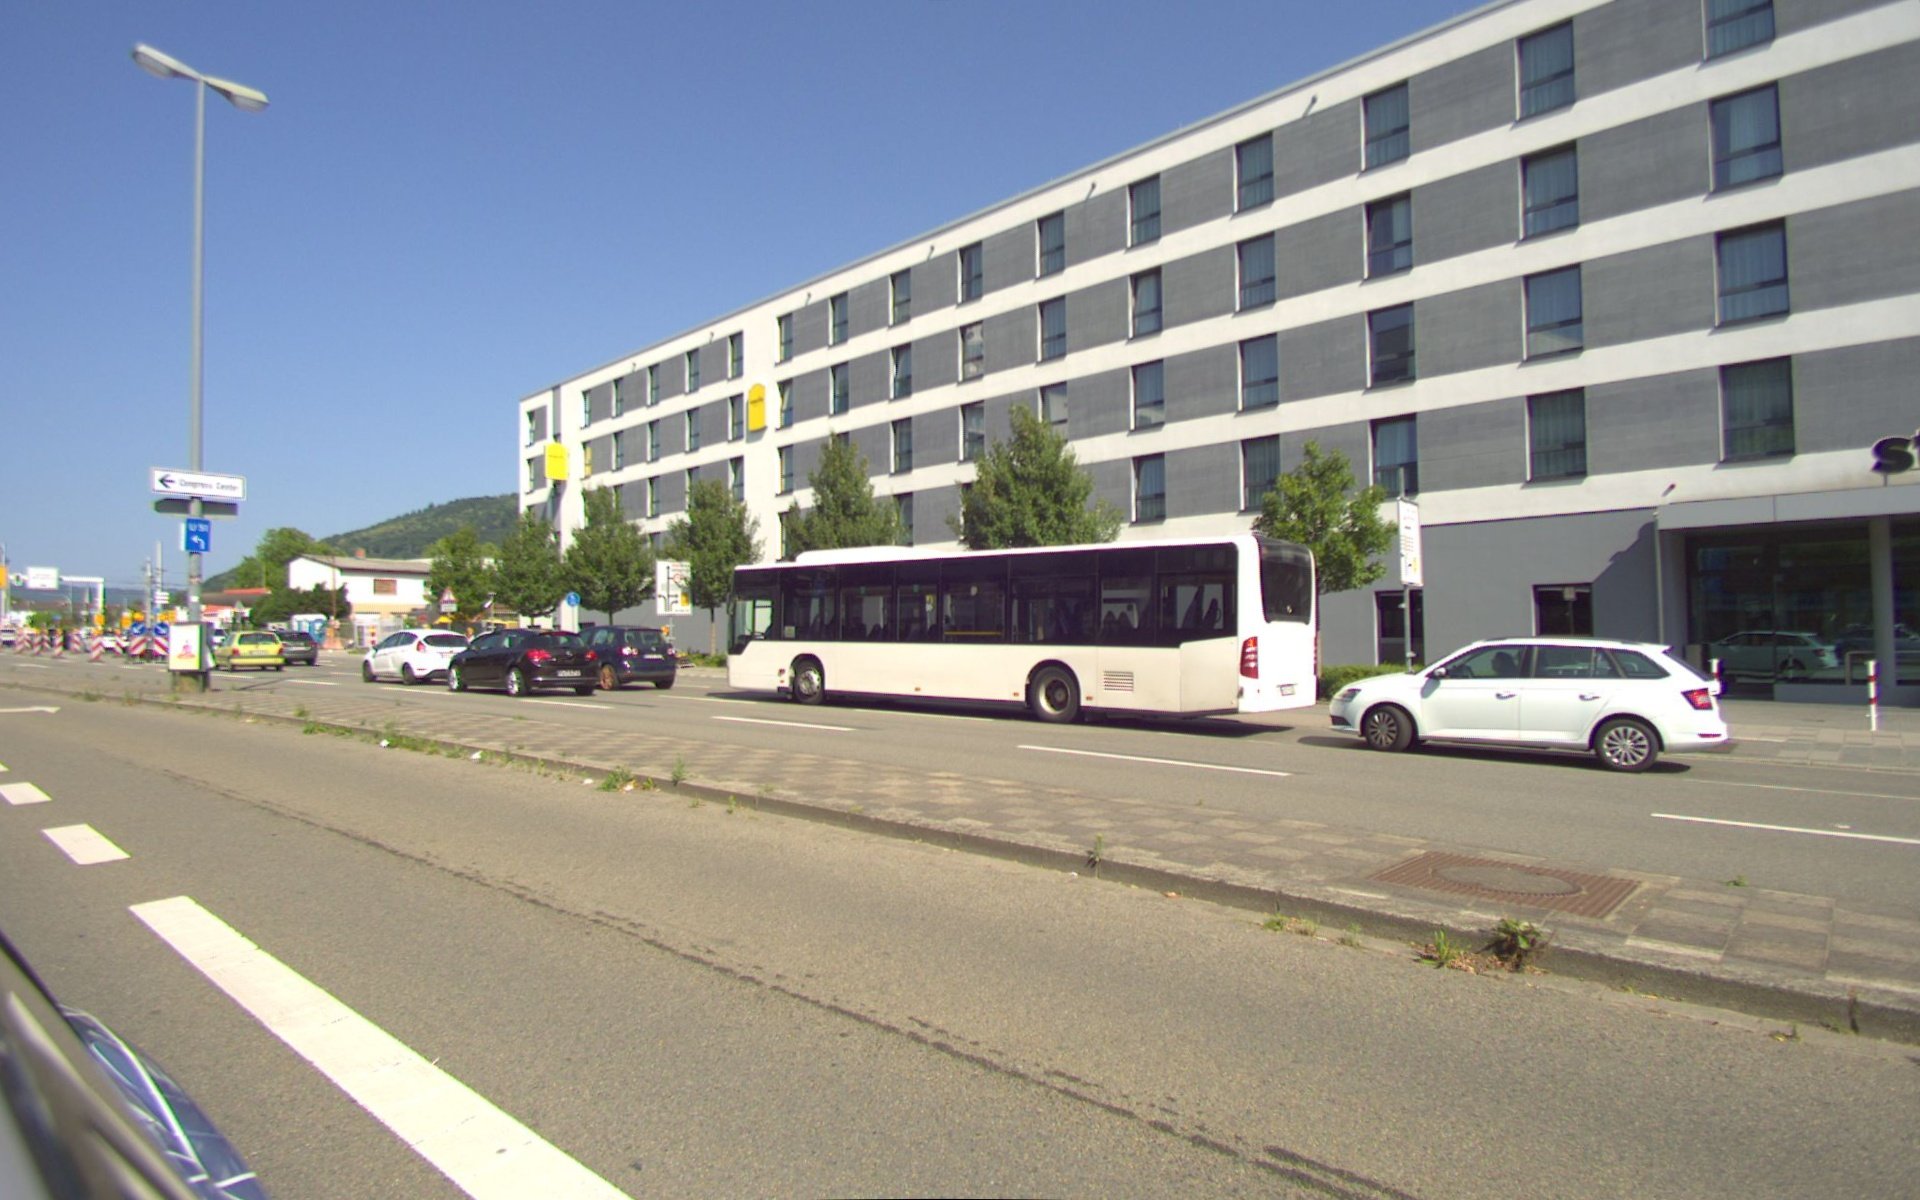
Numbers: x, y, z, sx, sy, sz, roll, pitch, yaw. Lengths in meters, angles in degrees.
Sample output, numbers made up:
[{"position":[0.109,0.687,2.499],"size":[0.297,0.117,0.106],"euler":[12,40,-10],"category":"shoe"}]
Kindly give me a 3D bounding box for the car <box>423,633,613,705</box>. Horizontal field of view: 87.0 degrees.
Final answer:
[{"position":[-9.989,1.465,22.681],"size":[4.888,1.443,1.973],"euler":[-2,-2,41],"category":"car"}]

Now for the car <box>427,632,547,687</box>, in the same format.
[{"position":[-14.282,1.794,30.488],"size":[3.977,1.550,1.834],"euler":[-3,-5,42],"category":"car"}]

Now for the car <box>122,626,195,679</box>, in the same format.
[{"position":[-33.410,2.140,42.145],"size":[4.162,2.029,1.658],"euler":[-1,0,41],"category":"car"}]

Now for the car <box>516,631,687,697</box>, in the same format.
[{"position":[-9.193,1.554,25.749],"size":[4.889,1.534,1.973],"euler":[-2,-2,41],"category":"car"}]

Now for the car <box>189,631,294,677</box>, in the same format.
[{"position":[-25.635,1.880,36.043],"size":[4.889,1.534,1.973],"euler":[-2,-2,41],"category":"car"}]

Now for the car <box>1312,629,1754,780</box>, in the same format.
[{"position":[6.823,1.161,12.374],"size":[4.403,1.497,1.976],"euler":[-1,-4,36],"category":"car"}]

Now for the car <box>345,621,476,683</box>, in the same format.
[{"position":[-14.531,1.302,26.697],"size":[3.998,1.462,1.741],"euler":[-1,0,41],"category":"car"}]

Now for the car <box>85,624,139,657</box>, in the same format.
[{"position":[-54.361,2.578,64.849],"size":[3.997,2.029,1.973],"euler":[-2,-2,40],"category":"car"}]

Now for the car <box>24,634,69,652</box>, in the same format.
[{"position":[-68.343,3.199,75.705],"size":[3.933,1.346,1.793],"euler":[-2,-2,38],"category":"car"}]

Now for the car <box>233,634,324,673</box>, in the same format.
[{"position":[-28.488,2.195,42.225],"size":[4.889,1.534,1.973],"euler":[-2,-2,41],"category":"car"}]

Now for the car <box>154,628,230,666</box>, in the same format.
[{"position":[-37.342,2.245,49.163],"size":[4.889,1.725,1.973],"euler":[-2,-2,41],"category":"car"}]

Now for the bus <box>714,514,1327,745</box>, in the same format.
[{"position":[0.273,0.577,18.513],"size":[11.967,3.102,2.710],"euler":[-2,-4,40],"category":"bus"}]

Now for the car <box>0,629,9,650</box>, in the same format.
[{"position":[-82.381,3.366,85.729],"size":[3.992,1.748,1.975],"euler":[-1,-2,36],"category":"car"}]
